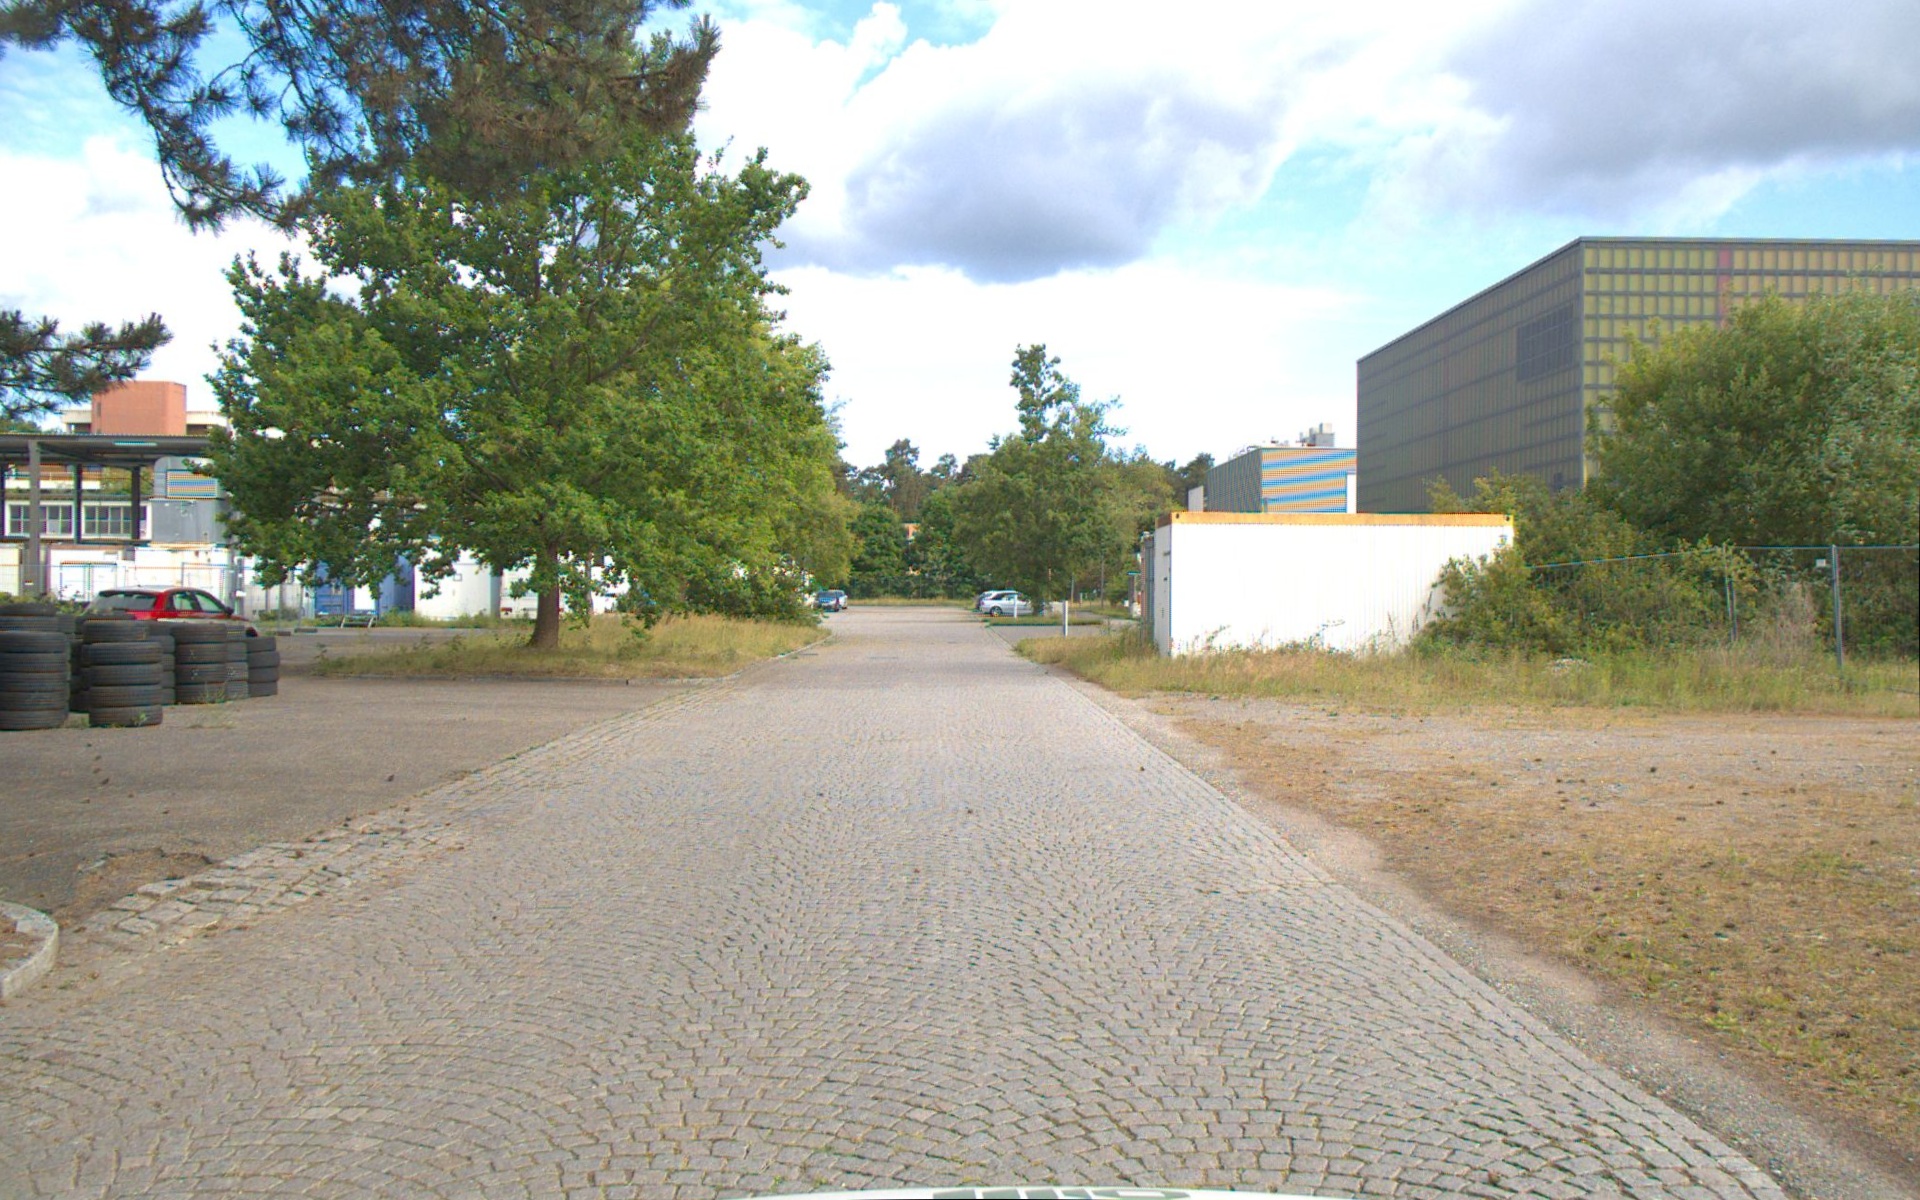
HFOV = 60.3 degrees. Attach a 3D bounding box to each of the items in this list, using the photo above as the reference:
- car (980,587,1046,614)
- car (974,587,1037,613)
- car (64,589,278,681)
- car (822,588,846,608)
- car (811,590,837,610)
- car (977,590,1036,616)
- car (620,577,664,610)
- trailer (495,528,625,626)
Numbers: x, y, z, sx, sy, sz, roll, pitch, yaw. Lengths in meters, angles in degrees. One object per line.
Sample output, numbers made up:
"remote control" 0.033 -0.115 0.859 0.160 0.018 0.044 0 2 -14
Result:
"car" 3.214 0.033 100.541 3.903 1.473 1.653 -2 0 -1
"car" 2.892 0.002 105.666 3.903 1.501 1.653 -2 0 -1
"car" -13.806 0.561 29.198 1.591 1.458 4.066 0 1 4
"car" -9.862 -0.159 129.478 1.614 1.484 3.997 0 0 -1
"car" -9.790 -0.013 119.136 1.614 1.393 3.997 0 0 -1
"car" 2.731 0.161 97.837 3.451 1.386 1.622 -2 0 -1
"car" -20.519 -0.431 106.884 1.953 2.049 4.767 1 0 -1
"trailer" -16.033 -0.883 67.117 2.571 3.661 10.179 0 0 1
